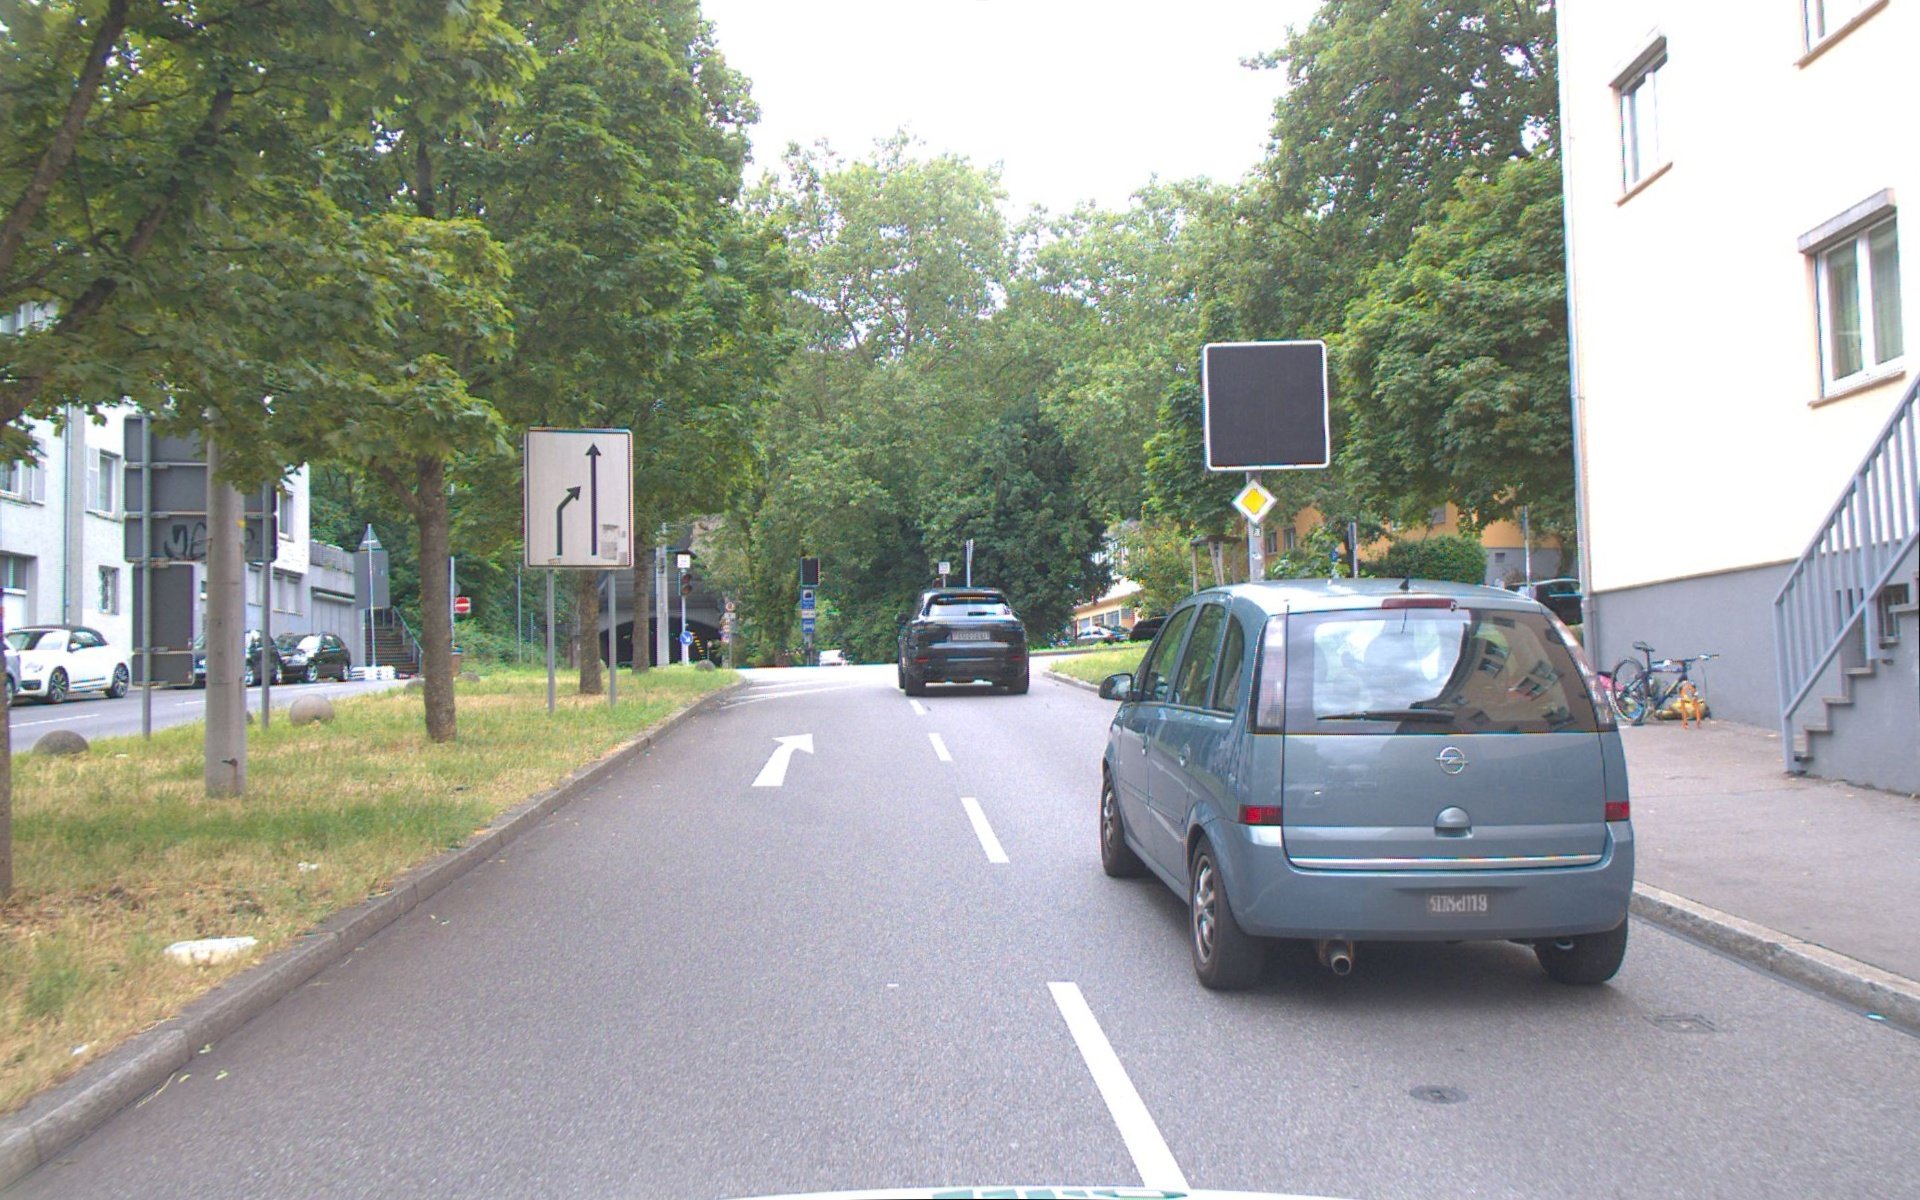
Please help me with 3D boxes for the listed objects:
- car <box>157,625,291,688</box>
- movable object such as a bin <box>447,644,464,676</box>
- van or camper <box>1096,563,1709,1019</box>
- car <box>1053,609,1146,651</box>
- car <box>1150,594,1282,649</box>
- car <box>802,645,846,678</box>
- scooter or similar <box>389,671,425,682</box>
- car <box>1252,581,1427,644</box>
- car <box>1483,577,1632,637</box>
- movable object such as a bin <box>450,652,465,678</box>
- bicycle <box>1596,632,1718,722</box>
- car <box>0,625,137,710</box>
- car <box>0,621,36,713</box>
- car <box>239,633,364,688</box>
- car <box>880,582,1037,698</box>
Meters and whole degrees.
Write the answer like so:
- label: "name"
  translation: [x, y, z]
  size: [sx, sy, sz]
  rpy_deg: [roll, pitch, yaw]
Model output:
- label: "car"
  translation: [-18.599, 1.391, 41.997]
  size: [1.956, 1.448, 4.205]
  rpy_deg: [-1, -1, -7]
- label: "movable object such as a bin"
  translation: [-19.594, 2.344, 64.247]
  size: [0.595, 1.207, 0.489]
  rpy_deg: [3, -4, -19]
- label: "van or camper"
  translation: [1.736, 0.678, 7.699]
  size: [1.701, 1.605, 3.643]
  rpy_deg: [0, 0, -3]
- label: "car"
  translation: [6.088, 1.346, 72.767]
  size: [1.967, 1.606, 4.869]
  rpy_deg: [-2, -3, -23]
- label: "car"
  translation: [7.445, 0.602, 47.930]
  size: [1.963, 1.442, 3.978]
  rpy_deg: [-2, -1, 41]
- label: "car"
  translation: [-6.797, 3.071, 82.336]
  size: [1.752, 1.467, 5.051]
  rpy_deg: [-2, -3, -9]
- label: "scooter or similar"
  translation: [-18.363, 2.545, 54.908]
  size: [1.107, 0.293, 1.093]
  rpy_deg: [-2, -3, -19]
- label: "car"
  translation: [9.900, 0.314, 43.230]
  size: [4.049, 1.453, 1.855]
  rpy_deg: [-2, 0, -15]
- label: "car"
  translation: [17.035, 0.185, 47.142]
  size: [4.074, 1.453, 1.720]
  rpy_deg: [-3, -2, -30]
- label: "movable object such as a bin"
  translation: [-19.377, 2.504, 63.825]
  size: [0.508, 0.984, 0.442]
  rpy_deg: [3, -3, -19]
- label: "bicycle"
  translation: [6.636, 0.712, 15.816]
  size: [0.478, 0.786, 1.557]
  rpy_deg: [-2, 0, -1]
- label: "car"
  translation: [-17.852, 1.274, 31.987]
  size: [1.954, 1.500, 4.155]
  rpy_deg: [-1, -1, -3]
- label: "car"
  translation: [-17.357, 1.157, 27.340]
  size: [1.954, 1.579, 4.378]
  rpy_deg: [-1, -1, -5]
- label: "car"
  translation: [-18.640, 1.685, 47.052]
  size: [1.954, 1.425, 4.514]
  rpy_deg: [-1, -1, -3]
- label: "car"
  translation: [-0.117, 0.641, 27.059]
  size: [1.957, 1.682, 3.992]
  rpy_deg: [-2, -1, -9]
